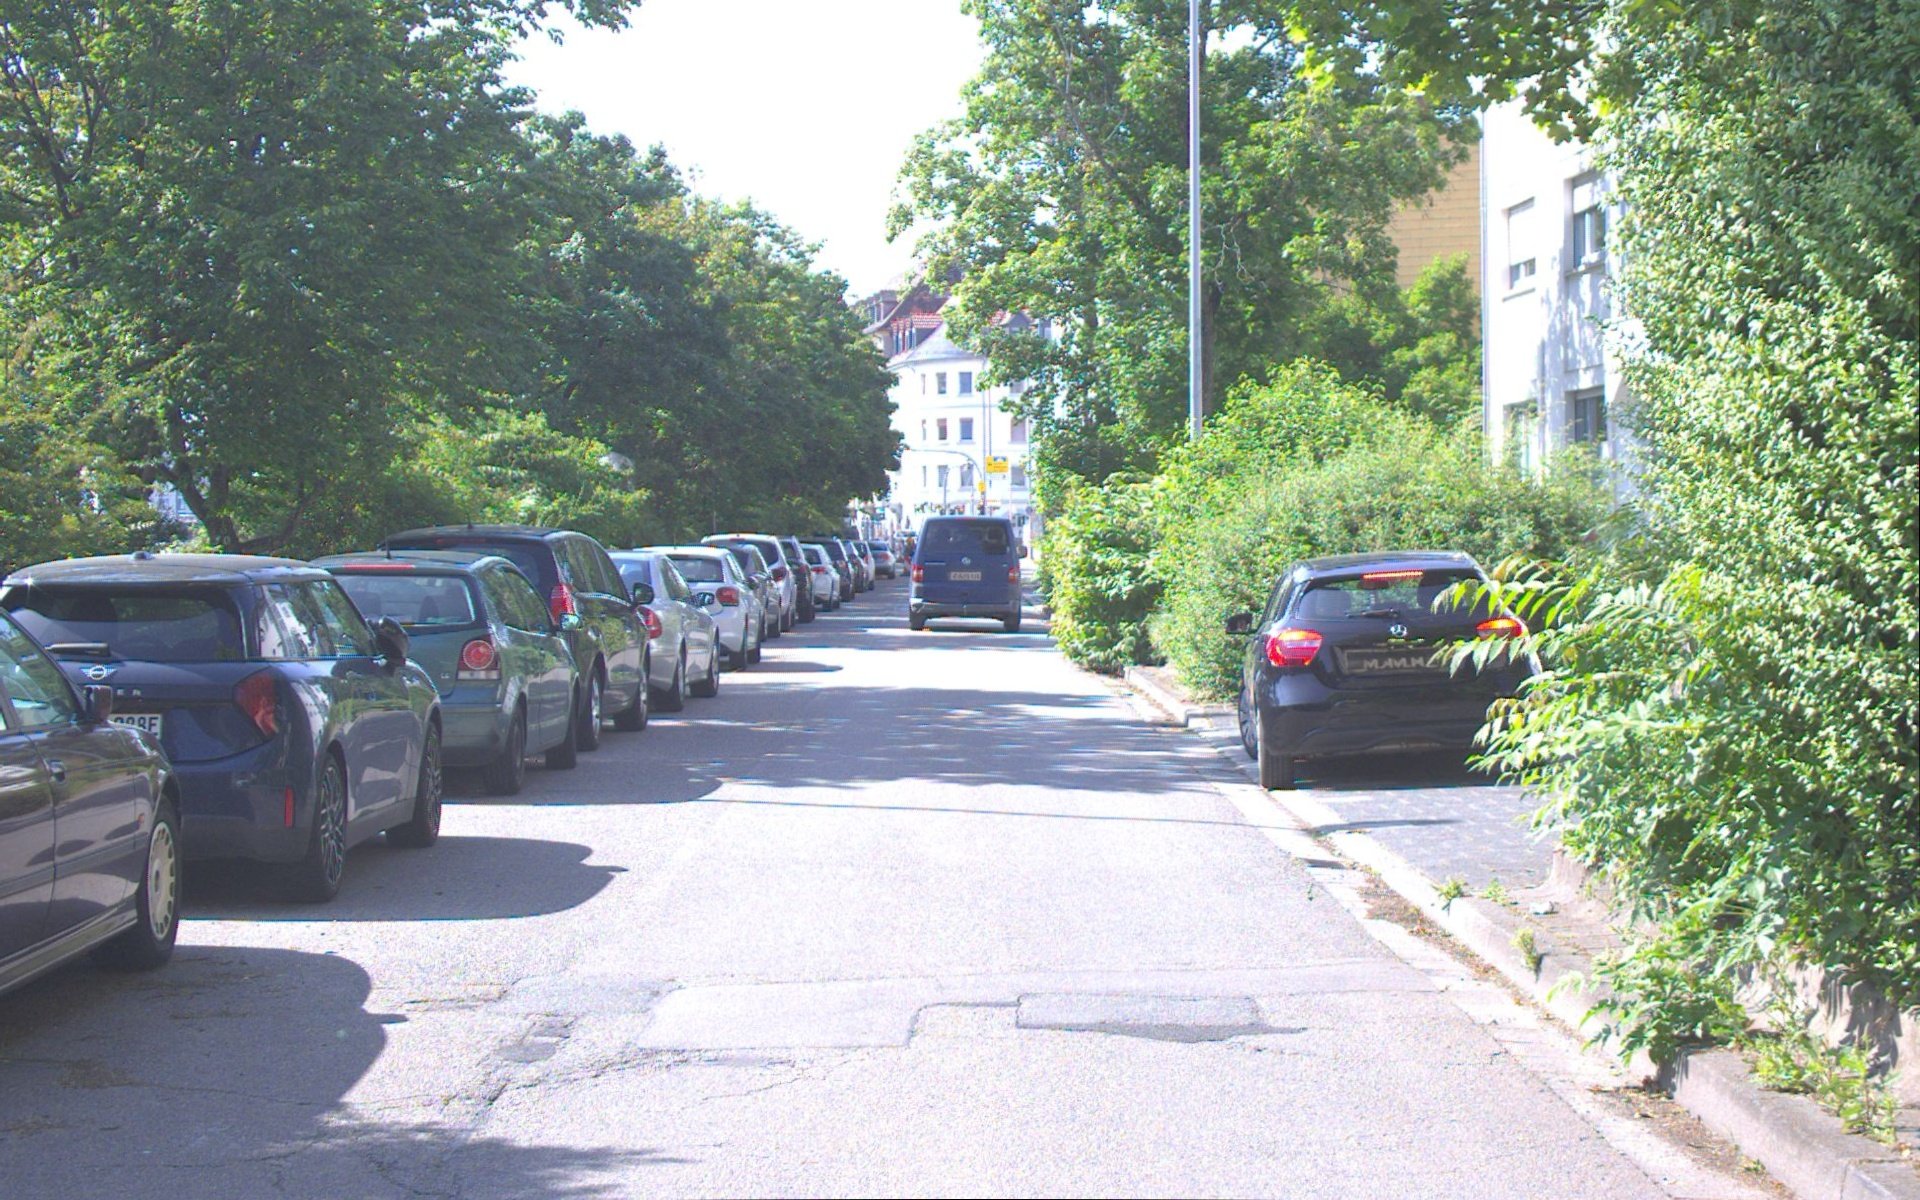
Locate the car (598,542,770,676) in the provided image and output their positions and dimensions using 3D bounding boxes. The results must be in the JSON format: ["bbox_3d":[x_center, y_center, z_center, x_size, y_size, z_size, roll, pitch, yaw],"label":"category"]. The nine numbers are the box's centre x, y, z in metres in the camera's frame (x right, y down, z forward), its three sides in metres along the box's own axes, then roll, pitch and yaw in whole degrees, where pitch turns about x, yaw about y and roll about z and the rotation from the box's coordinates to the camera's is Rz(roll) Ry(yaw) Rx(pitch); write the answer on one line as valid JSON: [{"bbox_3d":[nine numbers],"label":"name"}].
[{"bbox_3d":[-3.287,0.067,41.567,1.664,1.463,4.201,2,1,0],"label":"car"}]

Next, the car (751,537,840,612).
[{"bbox_3d":[-3.542,-0.569,74.637,1.664,1.504,4.008,2,1,0],"label":"car"}]

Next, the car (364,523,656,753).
[{"bbox_3d":[-3.334,0.226,26.107,1.664,1.578,3.932,0,2,1],"label":"car"}]

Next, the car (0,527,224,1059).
[{"bbox_3d":[-3.582,0.537,10.351,1.664,1.506,4.594,2,1,0],"label":"car"}]

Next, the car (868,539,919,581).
[{"bbox_3d":[-2.655,-1.621,137.508,1.993,1.651,4.000,0,1,-1],"label":"car"}]

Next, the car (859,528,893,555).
[{"bbox_3d":[-5.008,-3.494,205.447,1.993,1.651,3.741,0,1,-1],"label":"car"}]

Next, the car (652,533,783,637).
[{"bbox_3d":[-3.649,-0.256,52.271,1.664,1.504,4.201,0,1,1],"label":"car"}]

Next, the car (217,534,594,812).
[{"bbox_3d":[-3.357,0.378,21.451,1.664,1.506,3.789,2,1,0],"label":"car"}]

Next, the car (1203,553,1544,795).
[{"bbox_3d":[2.622,0.417,22.622,1.726,1.415,4.000,-1,1,0],"label":"car"}]

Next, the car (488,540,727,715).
[{"bbox_3d":[-3.151,0.196,31.437,1.664,1.402,4.320,2,1,0],"label":"car"}]

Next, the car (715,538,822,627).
[{"bbox_3d":[-3.508,-0.343,63.387,1.664,1.504,4.008,2,1,0],"label":"car"}]

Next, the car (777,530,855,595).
[{"bbox_3d":[-3.555,-0.947,85.385,1.664,1.504,4.008,2,1,0],"label":"car"}]

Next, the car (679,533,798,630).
[{"bbox_3d":[-3.713,-0.338,58.115,1.664,1.504,4.008,2,1,0],"label":"car"}]

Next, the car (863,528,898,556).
[{"bbox_3d":[-4.628,-3.385,201.109,1.993,1.651,3.741,0,1,-1],"label":"car"}]

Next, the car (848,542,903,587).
[{"bbox_3d":[-3.127,-1.320,127.712,1.993,1.651,4.000,0,1,-1],"label":"car"}]

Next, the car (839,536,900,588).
[{"bbox_3d":[-2.674,-1.133,102.096,1.664,1.504,4.008,0,1,1],"label":"car"}]

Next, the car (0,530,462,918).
[{"bbox_3d":[-3.391,0.453,15.512,1.664,1.468,3.789,2,1,0],"label":"car"}]

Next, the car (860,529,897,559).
[{"bbox_3d":[-4.546,-3.133,192.387,1.993,1.651,4.000,0,1,-1],"label":"car"}]

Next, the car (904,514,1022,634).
[{"bbox_3d":[0.072,-0.470,58.800,1.883,1.915,4.008,2,1,0],"label":"car"}]

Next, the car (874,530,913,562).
[{"bbox_3d":[-3.481,-2.826,180.360,1.993,1.651,4.000,0,1,-1],"label":"car"}]
